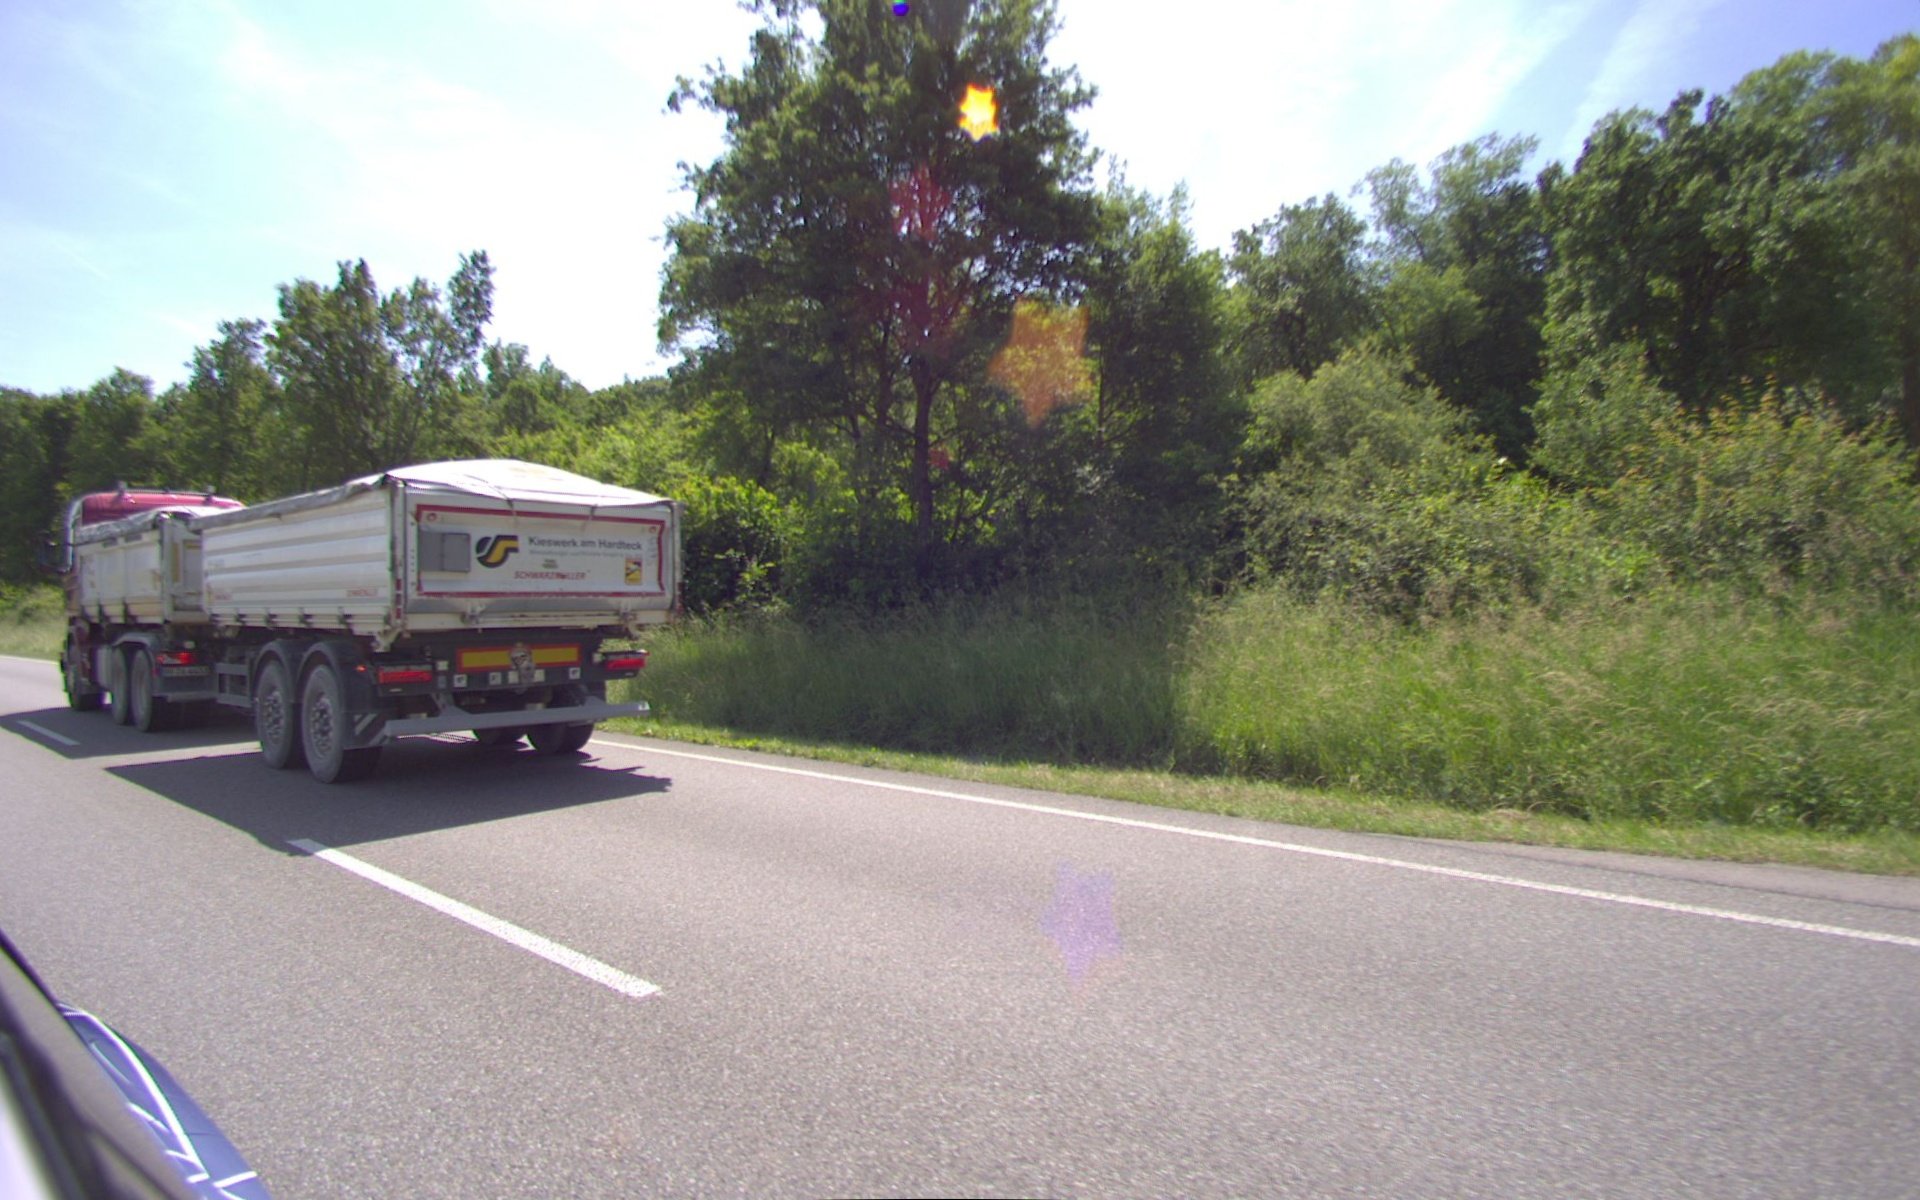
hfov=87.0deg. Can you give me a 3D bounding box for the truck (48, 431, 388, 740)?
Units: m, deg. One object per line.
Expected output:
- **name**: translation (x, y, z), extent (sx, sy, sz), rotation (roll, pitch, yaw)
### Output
- **truck**: translation (-11.465, -0.122, 15.278), extent (7.757, 3.586, 2.504), rotation (-1, -1, 41)

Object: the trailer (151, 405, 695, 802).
- **trailer**: translation (-6.001, 0.071, 10.669), extent (7.071, 2.894, 2.617), rotation (-1, -1, 40)
